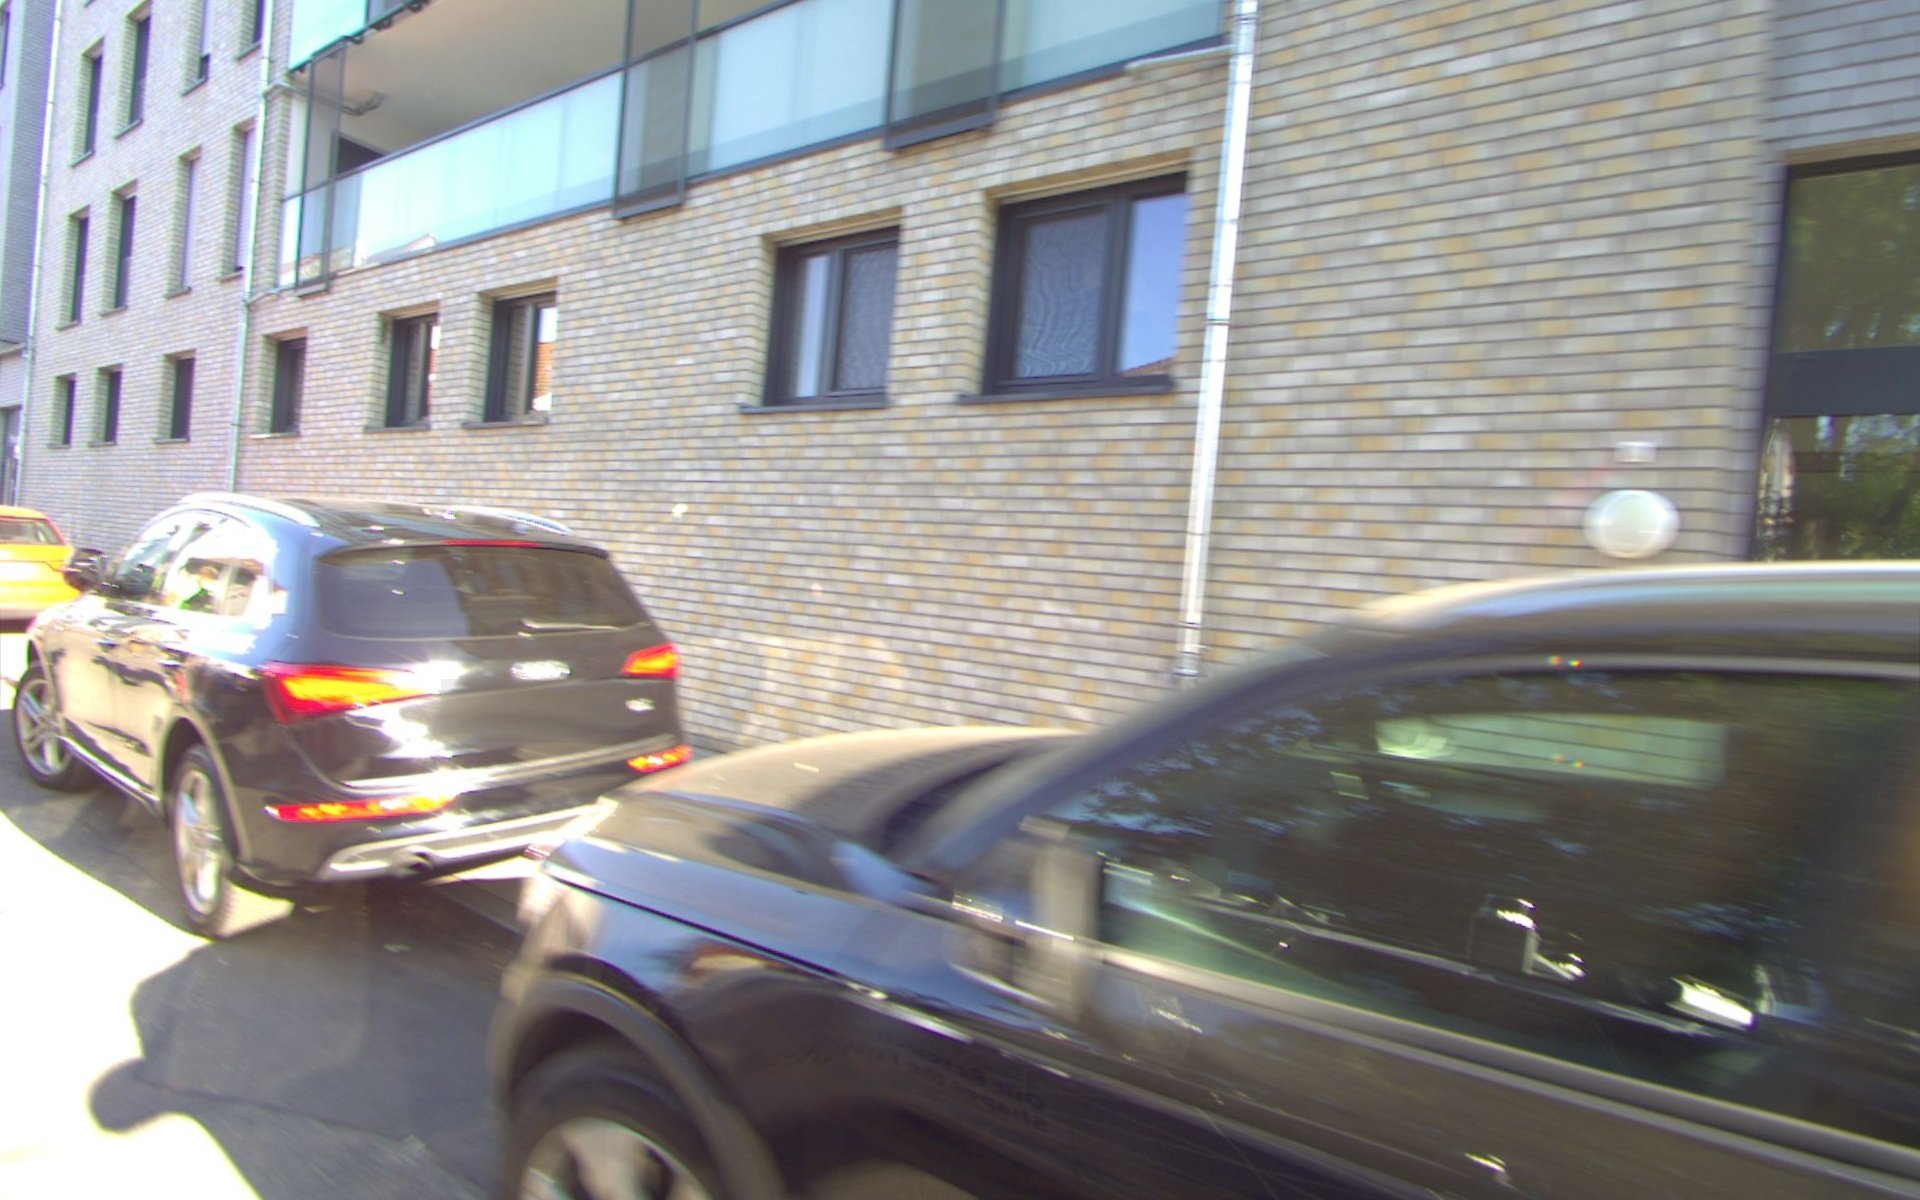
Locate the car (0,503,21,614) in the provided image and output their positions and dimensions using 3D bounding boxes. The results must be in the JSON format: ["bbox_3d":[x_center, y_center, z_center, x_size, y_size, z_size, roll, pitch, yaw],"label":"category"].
[{"bbox_3d":[-15.580,-0.803,14.585,4.298,1.525,1.993,6,1,35],"label":"car"}]

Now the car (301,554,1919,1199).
[{"bbox_3d":[1.049,0.866,1.427,4.202,1.485,1.816,6,1,34],"label":"car"}]

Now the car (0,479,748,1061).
[{"bbox_3d":[-3.415,0.398,5.297,4.704,1.734,1.887,7,1,40],"label":"car"}]

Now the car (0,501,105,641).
[{"bbox_3d":[-11.648,-0.441,11.666,4.009,1.424,1.709,6,4,35],"label":"car"}]
